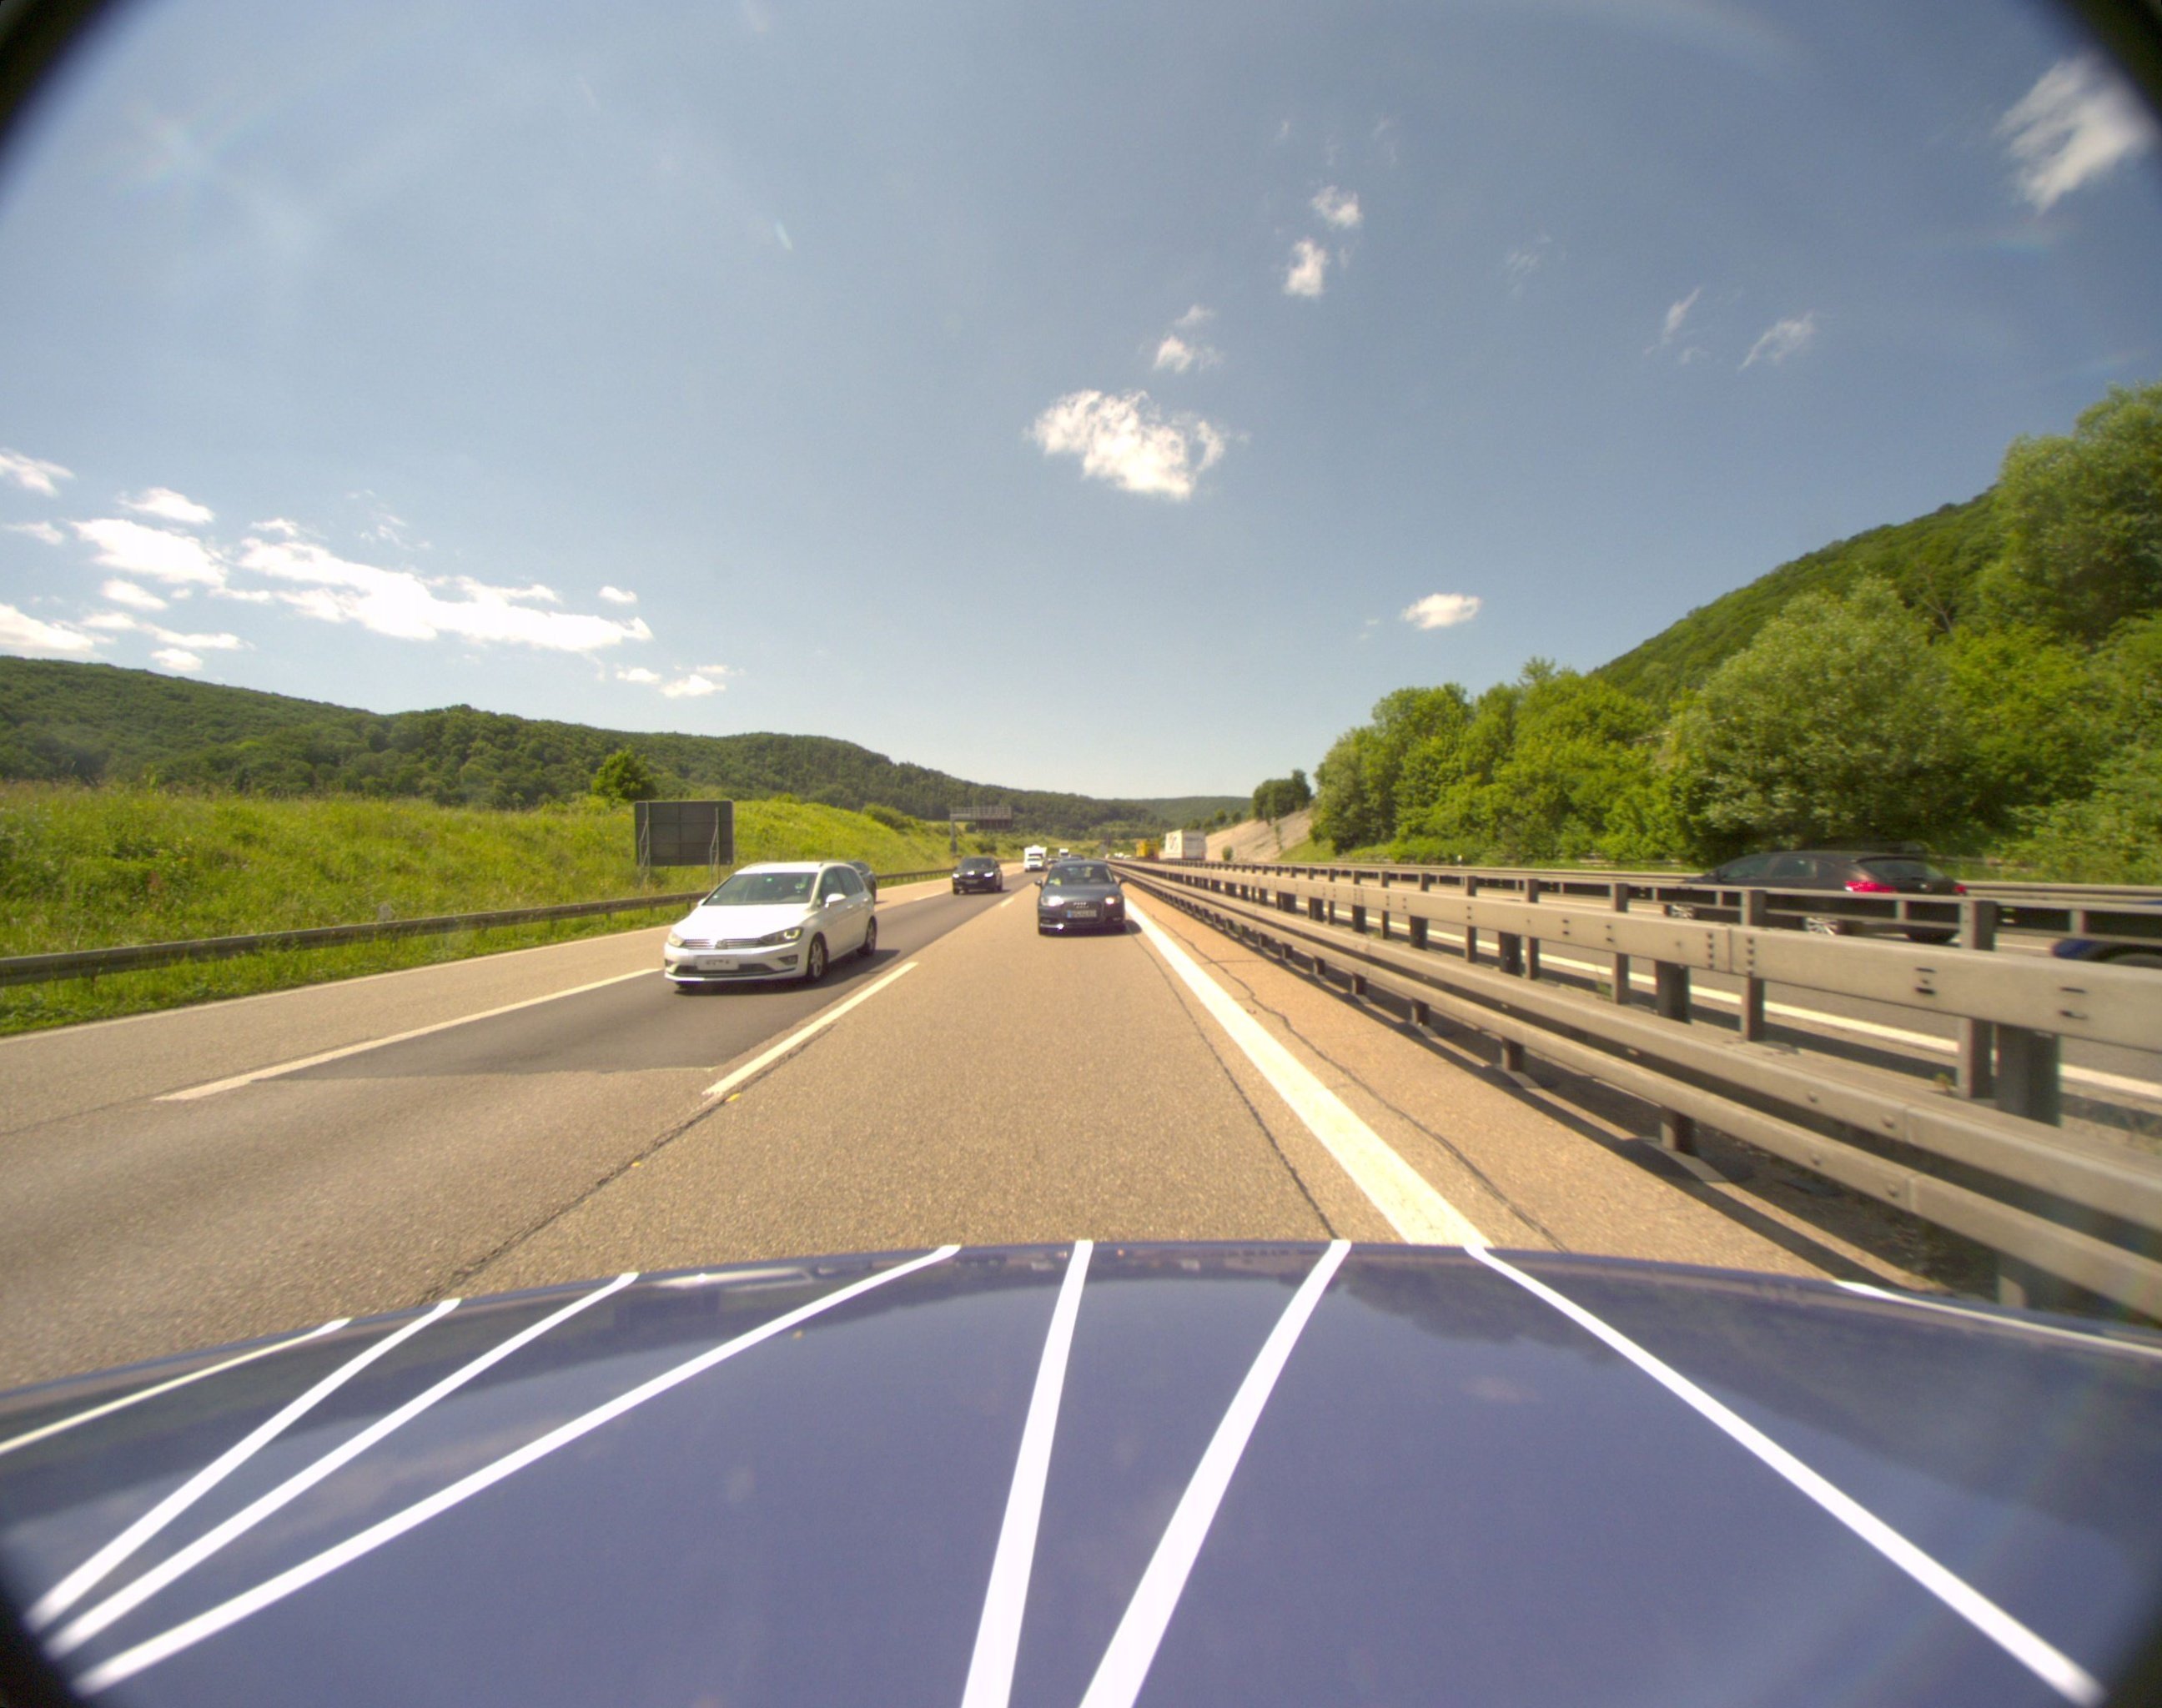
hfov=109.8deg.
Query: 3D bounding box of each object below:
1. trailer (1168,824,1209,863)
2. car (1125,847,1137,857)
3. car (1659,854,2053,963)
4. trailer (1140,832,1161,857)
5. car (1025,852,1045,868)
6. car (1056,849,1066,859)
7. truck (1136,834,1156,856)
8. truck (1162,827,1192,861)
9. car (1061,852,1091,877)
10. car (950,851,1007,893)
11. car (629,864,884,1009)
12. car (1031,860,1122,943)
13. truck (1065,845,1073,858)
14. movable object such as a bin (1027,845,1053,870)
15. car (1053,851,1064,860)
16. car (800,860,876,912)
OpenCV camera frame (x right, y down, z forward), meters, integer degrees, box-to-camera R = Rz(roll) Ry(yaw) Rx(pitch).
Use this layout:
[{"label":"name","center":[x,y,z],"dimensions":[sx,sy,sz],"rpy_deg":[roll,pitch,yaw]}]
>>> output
[{"label":"trailer","center":[11.973,-1.133,85.762],"dimensions":[2.863,4.052,11.261],"rpy_deg":[0,0,0]},{"label":"car","center":[8.468,-0.320,128.579],"dimensions":[1.751,1.510,3.999],"rpy_deg":[-2,0,0]},{"label":"car","center":[11.944,0.719,12.282],"dimensions":[1.874,1.412,4.433],"rpy_deg":[0,0,1]},{"label":"trailer","center":[12.420,-1.653,136.864],"dimensions":[2.834,4.123,10.404],"rpy_deg":[-2,0,0]},{"label":"car","center":[-4.721,0.614,78.489],"dimensions":[1.821,1.574,4.000],"rpy_deg":[-1,0,0]},{"label":"car","center":[-4.286,-0.058,162.066],"dimensions":[1.999,2.002,4.000],"rpy_deg":[-1,0,-1]},{"label":"truck","center":[12.479,-1.719,146.892],"dimensions":[2.834,4.123,9.614],"rpy_deg":[-2,0,0]},{"label":"truck","center":[11.896,-1.180,94.403],"dimensions":[2.917,4.078,5.847],"rpy_deg":[0,1,0]},{"label":"car","center":[-0.305,0.656,50.915],"dimensions":[1.835,1.586,4.000],"rpy_deg":[-1,0,1]},{"label":"car","center":[-4.515,0.768,34.179],"dimensions":[1.893,1.761,4.171],"rpy_deg":[-1,0,1]},{"label":"car","center":[-4.230,0.971,10.715],"dimensions":[1.777,1.532,4.054],"rpy_deg":[-2,0,0]},{"label":"car","center":[0.025,0.874,15.715],"dimensions":[1.591,1.402,4.001],"rpy_deg":[-2,0,3]},{"label":"truck","center":[-3.579,-0.707,226.460],"dimensions":[2.336,3.623,7.005],"rpy_deg":[-2,0,0]},{"label":"movable object such as a bin","center":[-4.592,0.374,85.844],"dimensions":[2.481,2.616,6.708],"rpy_deg":[-2,0,1]},{"label":"car","center":[-3.862,0.219,129.415],"dimensions":[1.711,1.542,4.000],"rpy_deg":[-1,0,0]},{"label":"car","center":[-8.484,1.052,26.895],"dimensions":[1.684,1.585,4.246],"rpy_deg":[-2,0,-6]}]
